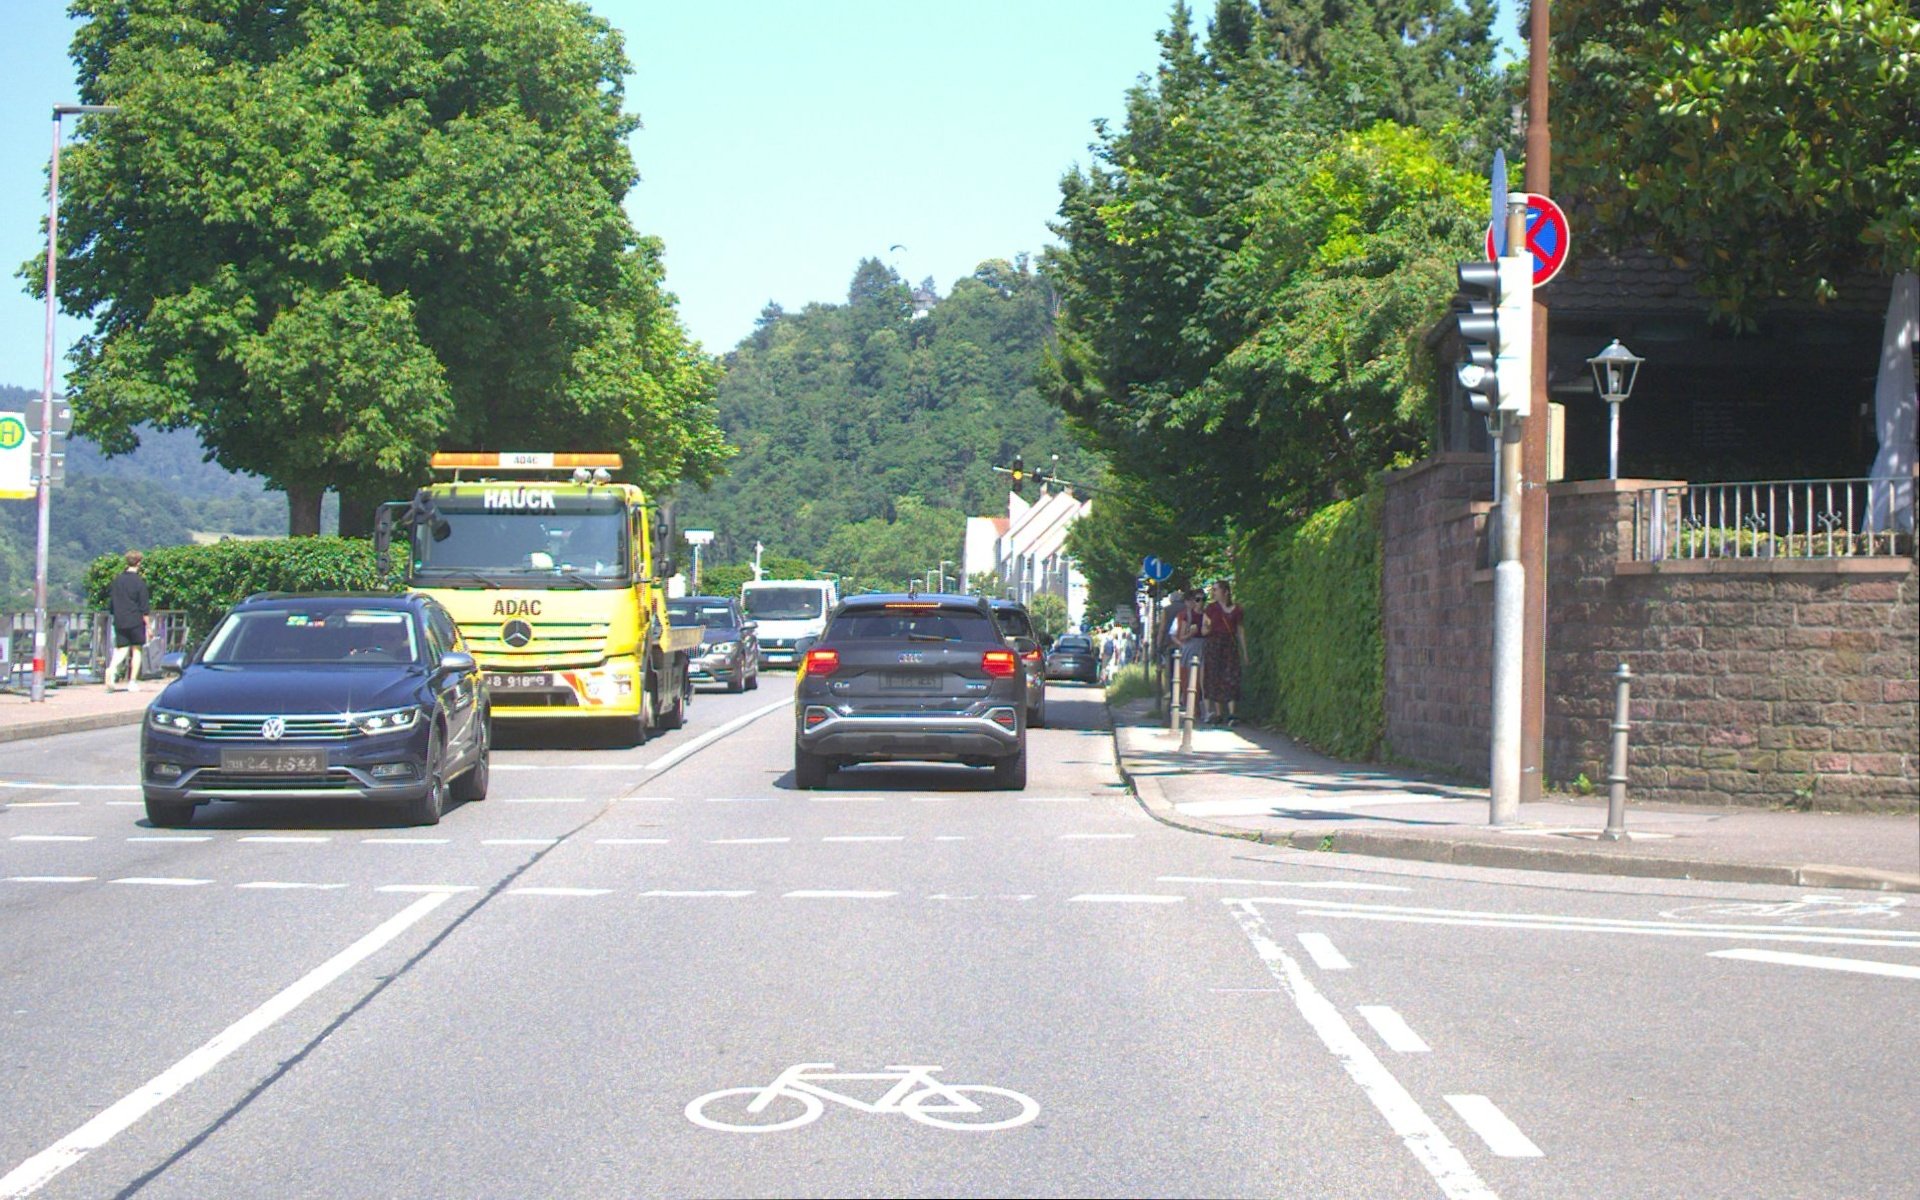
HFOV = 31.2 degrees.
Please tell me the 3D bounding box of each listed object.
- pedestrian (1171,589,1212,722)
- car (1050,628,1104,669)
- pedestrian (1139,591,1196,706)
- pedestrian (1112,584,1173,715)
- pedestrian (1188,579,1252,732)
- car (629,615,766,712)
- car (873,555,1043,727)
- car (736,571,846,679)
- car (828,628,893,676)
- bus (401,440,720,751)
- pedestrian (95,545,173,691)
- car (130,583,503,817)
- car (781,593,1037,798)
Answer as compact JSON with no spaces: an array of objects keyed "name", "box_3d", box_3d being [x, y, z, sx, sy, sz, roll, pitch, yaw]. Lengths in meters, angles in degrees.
[{"name":"pedestrian","box_3d":[2.795,0.668,41.574,0.455,1.600,0.579,0,0,1]},{"name":"car","box_3d":[4.349,1.827,128.197,1.993,1.448,4.008,0,-2,1]},{"name":"pedestrian","box_3d":[3.025,0.703,50.186,0.728,1.644,0.882,-2,0,1]},{"name":"pedestrian","box_3d":[2.295,0.620,43.383,0.735,1.628,0.920,0,0,1]},{"name":"pedestrian","box_3d":[3.016,0.632,39.963,0.681,1.736,0.913,0,1,1]},{"name":"car","box_3d":[-4.162,0.989,55.067,1.815,1.393,4.346,0,1,1]},{"name":"car","box_3d":[-0.034,0.536,42.444,1.993,2.007,4.000,0,-2,0]},{"name":"car","box_3d":[-3.745,0.508,77.140,2.096,2.294,5.868,0,1,1]},{"name":"car","box_3d":[-3.143,1.659,109.446,1.899,1.484,3.795,0,-1,1]},{"name":"bus","box_3d":[-4.020,-0.081,36.282,2.597,2.886,8.447,0,1,-2]},{"name":"pedestrian","box_3d":[-10.968,0.251,45.663,0.753,1.911,1.009,0,-2,1]},{"name":"car","box_3d":[-4.218,0.600,23.184,1.808,1.401,4.357,0,1,-2]},{"name":"car","box_3d":[-0.335,0.716,27.503,1.857,1.518,4.000,0,0,2]}]
